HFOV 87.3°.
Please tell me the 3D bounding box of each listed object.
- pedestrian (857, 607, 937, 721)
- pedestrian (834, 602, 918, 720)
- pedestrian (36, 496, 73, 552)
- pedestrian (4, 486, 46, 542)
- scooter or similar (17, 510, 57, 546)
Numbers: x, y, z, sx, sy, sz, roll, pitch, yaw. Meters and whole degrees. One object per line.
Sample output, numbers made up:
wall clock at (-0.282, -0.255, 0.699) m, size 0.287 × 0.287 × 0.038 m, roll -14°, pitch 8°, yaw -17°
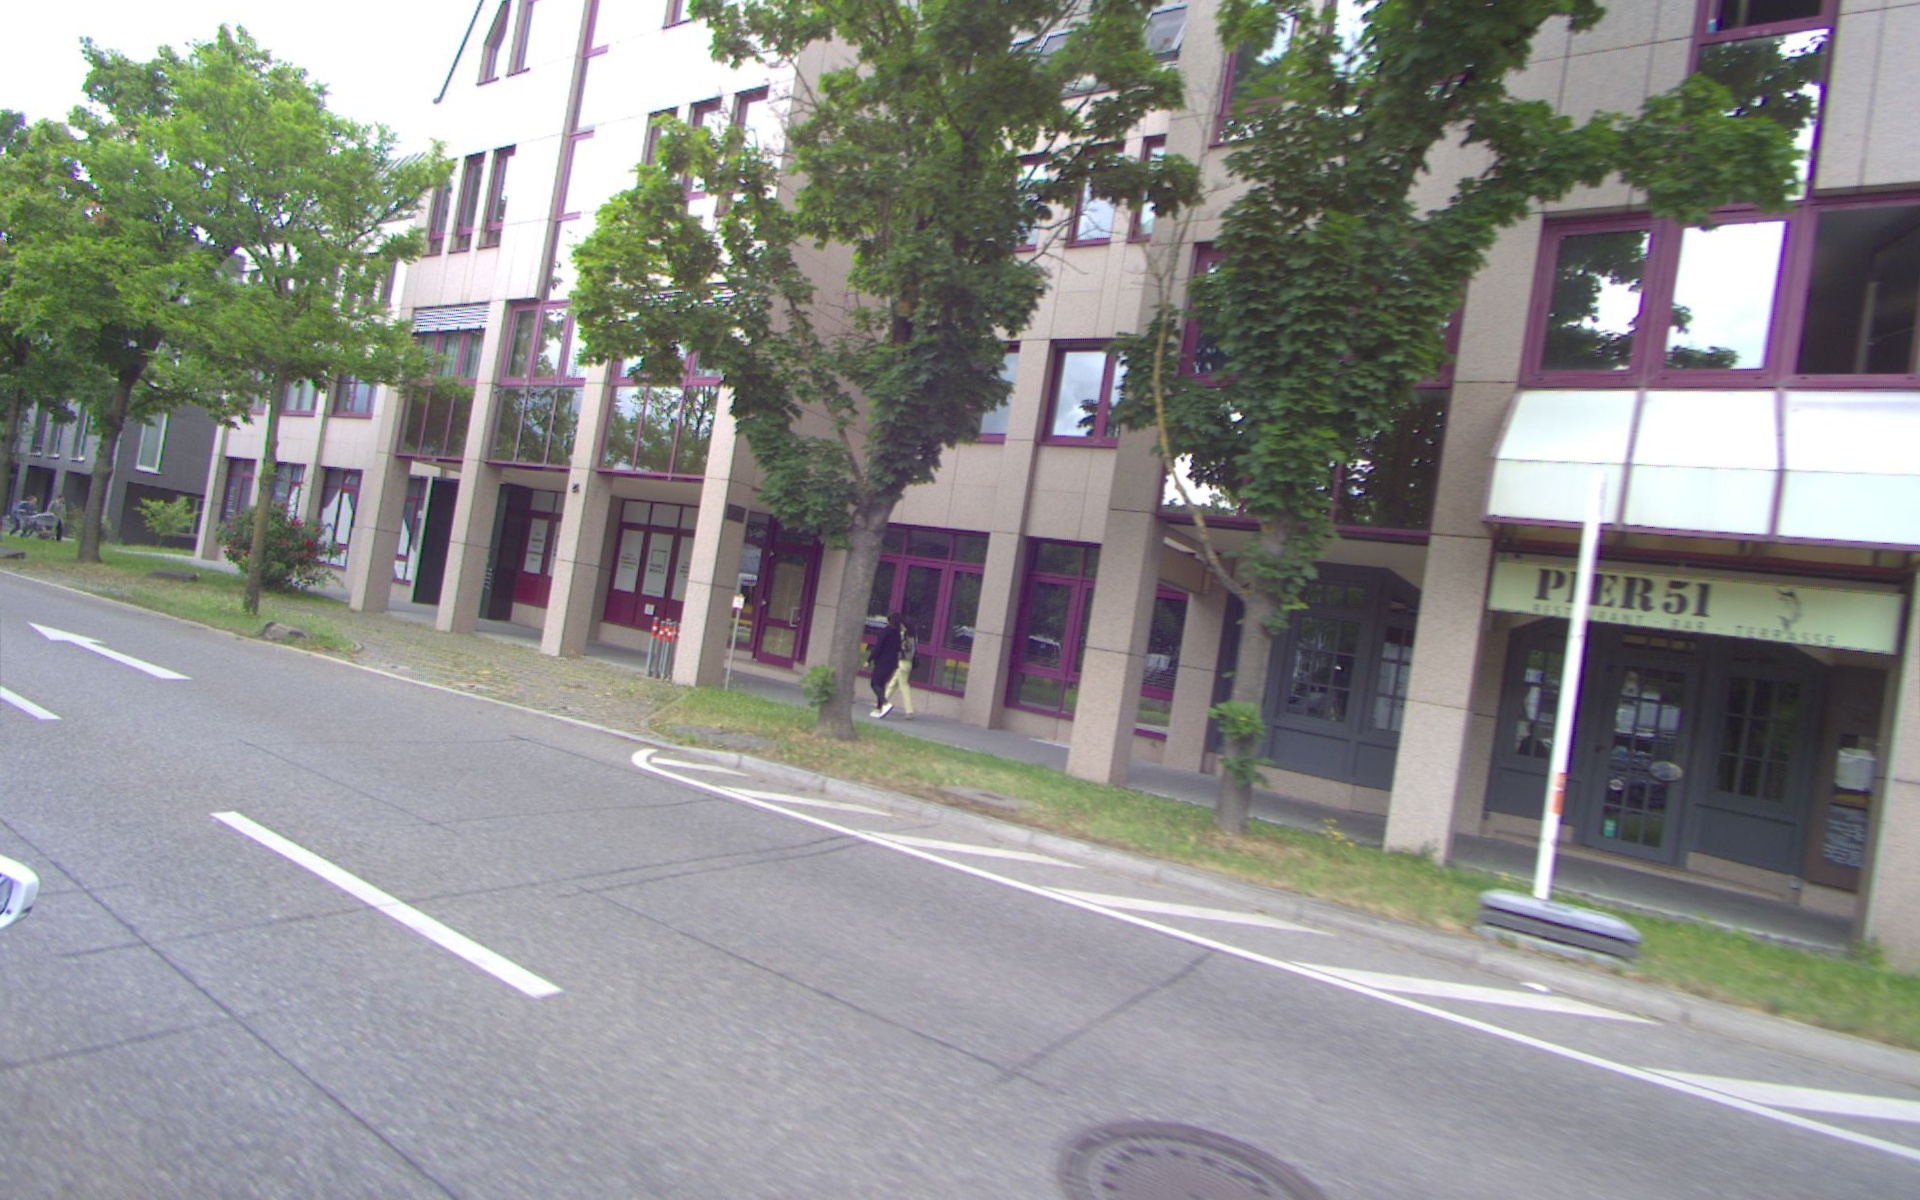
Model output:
pedestrian at (-1.036, 1.051, 16.568) m, size 0.954 × 1.724 × 0.595 m, roll 7°, pitch -1°, yaw 35°
pedestrian at (-1.326, 0.960, 15.896) m, size 0.954 × 1.724 × 0.595 m, roll 7°, pitch -1°, yaw 35°
pedestrian at (-29.701, -2.503, 32.995) m, size 0.816 × 1.719 × 0.568 m, roll 6°, pitch -2°, yaw 34°
pedestrian at (-29.940, -2.747, 32.220) m, size 0.944 × 1.673 × 0.556 m, roll 7°, pitch 0°, yaw 26°
scooter or similar at (-29.201, -2.264, 31.832) m, size 0.831 × 1.006 × 0.585 m, roll 7°, pitch 0°, yaw 26°
